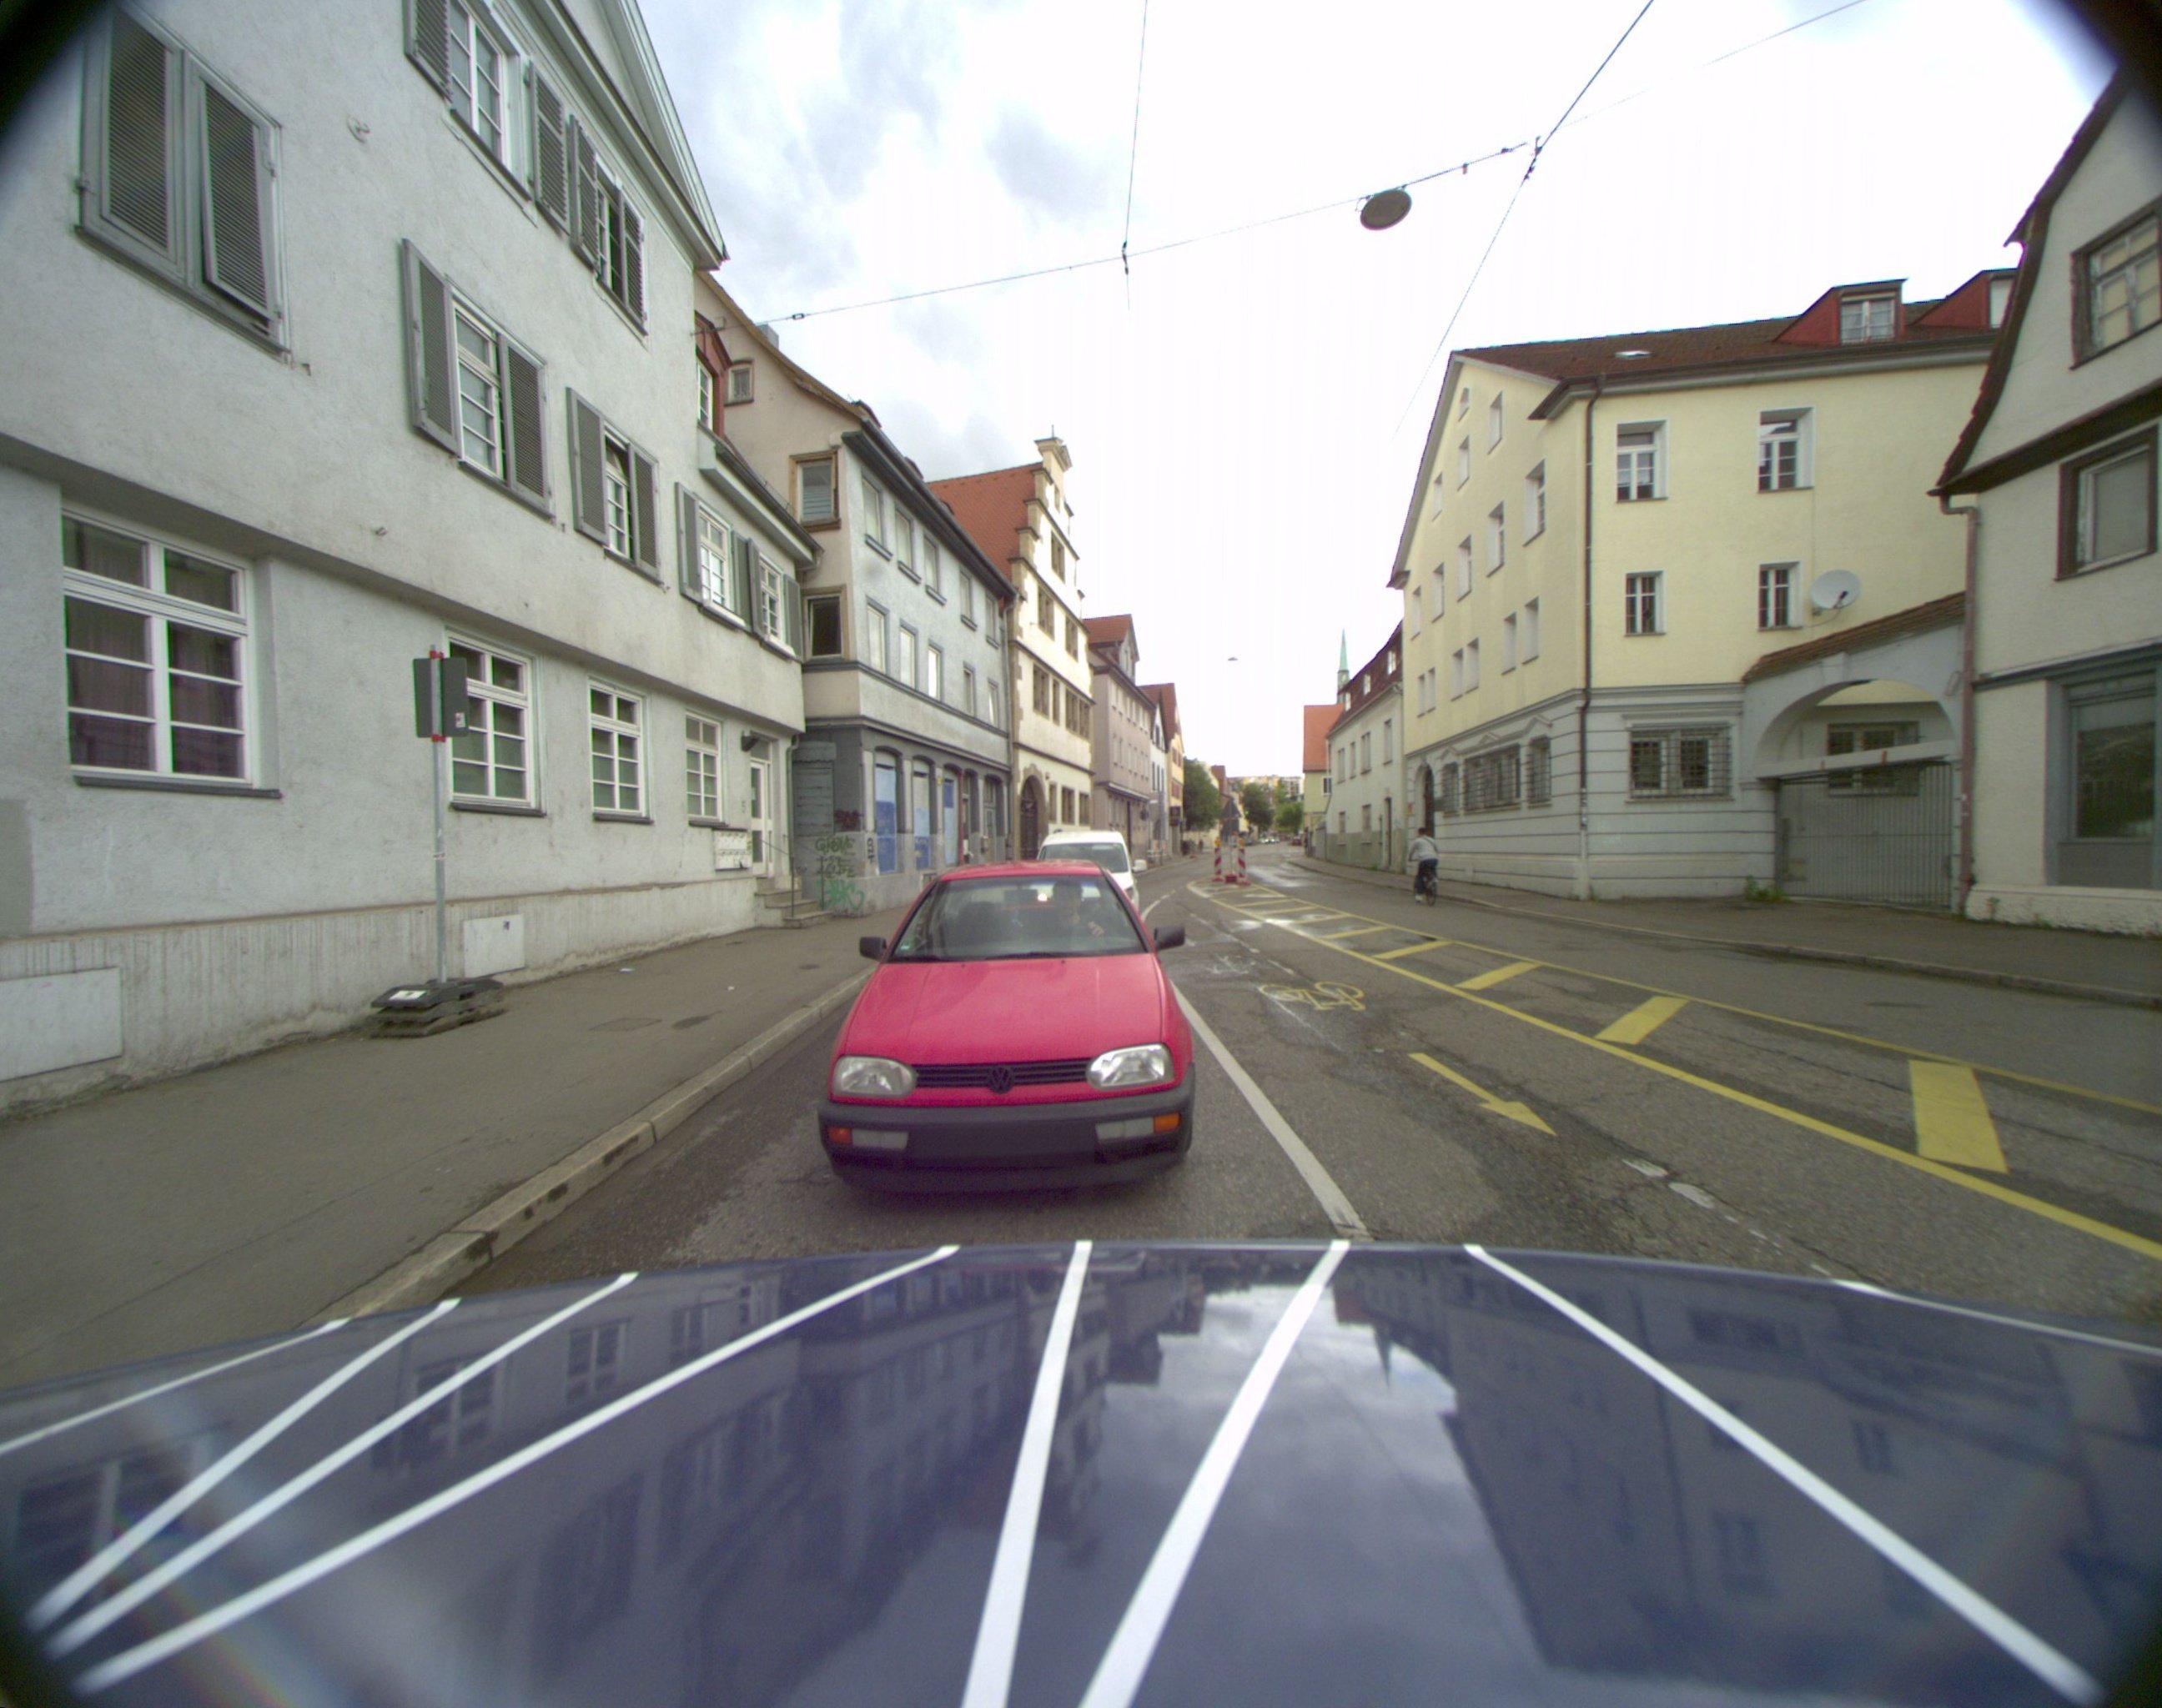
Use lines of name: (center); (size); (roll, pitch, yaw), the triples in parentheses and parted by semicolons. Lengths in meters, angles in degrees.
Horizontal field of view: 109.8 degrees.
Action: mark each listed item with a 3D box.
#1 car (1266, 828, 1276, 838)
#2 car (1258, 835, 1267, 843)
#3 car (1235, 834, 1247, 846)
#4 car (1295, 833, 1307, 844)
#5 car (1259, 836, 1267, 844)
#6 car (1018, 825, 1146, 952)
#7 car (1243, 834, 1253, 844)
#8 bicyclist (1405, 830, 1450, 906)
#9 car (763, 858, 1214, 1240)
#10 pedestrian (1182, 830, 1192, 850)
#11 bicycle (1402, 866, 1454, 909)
car: (44.132, -4.854, 176.529); (1.996, 2.002, 4.004); (-1, 0, 13)
car: (44.789, -3.642, 187.553); (1.996, 2.002, 4.004); (-1, 0, 13)
car: (28.338, -2.417, 134.239); (1.996, 2.002, 4.004); (-1, 0, 13)
car: (42.598, -2.951, 147.328); (2.057, 2.002, 4.004); (-1, 0, 13)
car: (48.295, -3.814, 202.027); (1.996, 2.002, 4.004); (-1, 0, 13)
car: (0.044, 0.484, 12.995); (1.804, 1.781, 4.348); (-1, 0, 1)
car: (34.014, -2.992, 154.978); (1.996, 2.002, 4.004); (-1, 0, 13)
bicyclist: (7.985, 0.312, 17.521); (0.724, 1.691, 0.811); (-1, 1, 7)
car: (-0.360, 0.835, 5.190); (1.804, 1.458, 4.000); (-4, 0, 1)
pedestrian: (10.071, -1.333, 72.104); (0.878, 1.888, 0.897); (-1, 1, 4)
bicycle: (7.997, 0.748, 17.565); (0.542, 0.887, 1.881); (-1, 0, 7)
